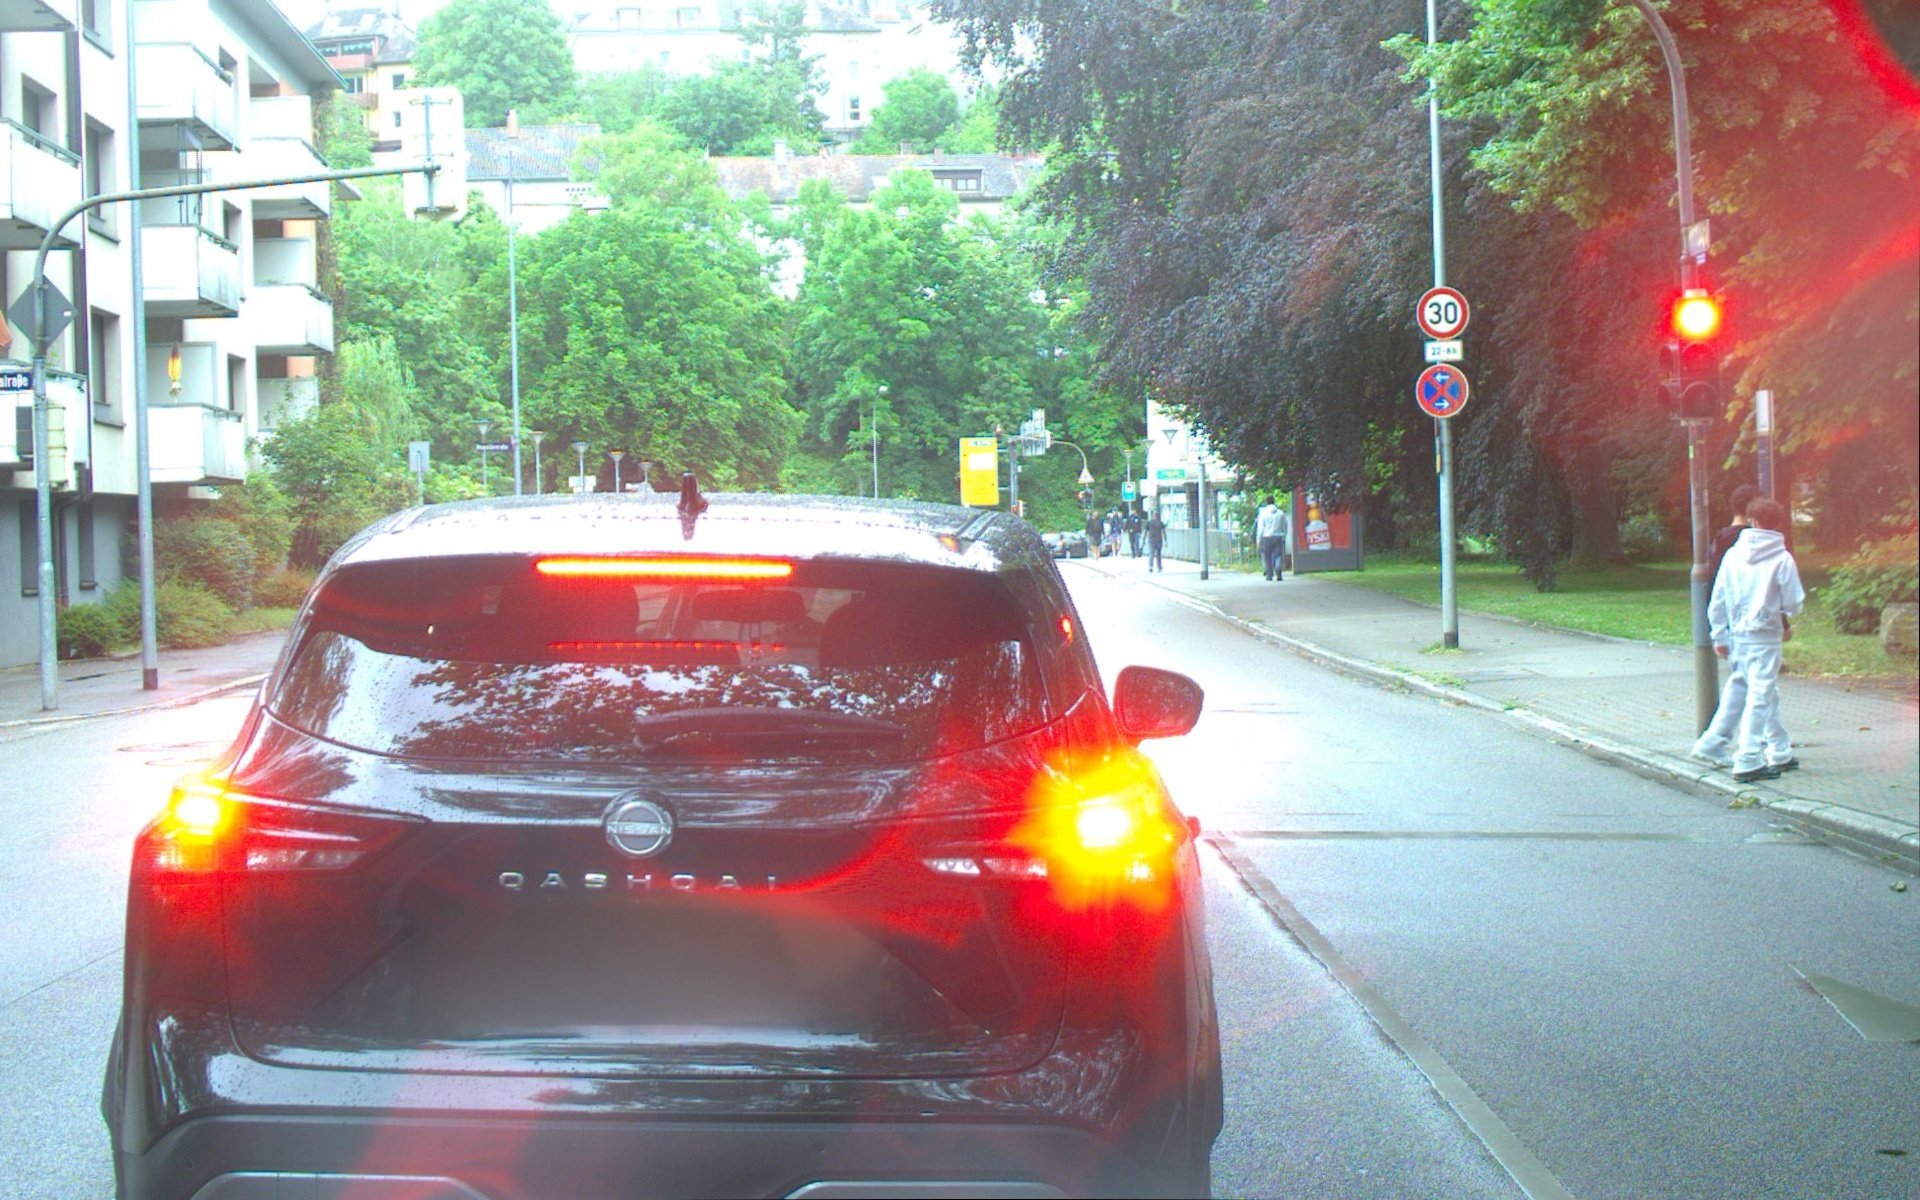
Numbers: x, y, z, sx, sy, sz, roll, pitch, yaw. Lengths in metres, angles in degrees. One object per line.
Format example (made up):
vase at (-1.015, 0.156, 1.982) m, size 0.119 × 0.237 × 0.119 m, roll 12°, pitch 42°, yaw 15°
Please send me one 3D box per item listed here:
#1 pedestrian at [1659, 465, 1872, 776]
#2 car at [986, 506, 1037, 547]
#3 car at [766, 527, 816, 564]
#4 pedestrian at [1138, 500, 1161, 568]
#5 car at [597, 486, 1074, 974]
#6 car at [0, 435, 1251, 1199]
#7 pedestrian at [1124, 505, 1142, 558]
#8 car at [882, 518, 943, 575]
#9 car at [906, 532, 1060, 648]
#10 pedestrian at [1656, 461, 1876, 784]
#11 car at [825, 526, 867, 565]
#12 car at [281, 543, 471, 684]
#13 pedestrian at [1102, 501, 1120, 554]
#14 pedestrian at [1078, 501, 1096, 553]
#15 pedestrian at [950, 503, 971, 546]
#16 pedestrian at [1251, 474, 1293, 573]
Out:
pedestrian at (5.070, 0.120, 21.671) m, size 1.035 × 1.869 × 0.658 m, roll -4°, pitch 1°, yaw -11°
car at (2.273, -3.240, 152.124) m, size 1.994 × 1.729 × 3.999 m, roll 1°, pitch 1°, yaw 4°
car at (-7.406, -2.403, 150.811) m, size 1.970 × 1.527 × 3.968 m, roll -2°, pitch 1°, yaw -1°
pedestrian at (5.084, -1.775, 92.328) m, size 0.508 × 1.796 × 0.619 m, roll -2°, pitch 1°, yaw -1°
car at (-0.478, 0.441, 14.500) m, size 1.698 × 1.739 × 3.641 m, roll -2°, pitch 1°, yaw -1°
car at (-0.552, 0.558, 7.018) m, size 1.913 × 1.674 × 4.000 m, roll 0°, pitch 1°, yaw 0°
pedestrian at (5.960, -2.358, 118.765) m, size 0.508 × 1.796 × 0.619 m, roll -2°, pitch 1°, yaw -2°
car at (-1.357, -1.547, 98.632) m, size 1.634 × 1.527 × 3.968 m, roll -2°, pitch 1°, yaw -1°
car at (0.255, -0.174, 46.047) m, size 1.825 × 1.399 × 4.651 m, roll -2°, pitch 1°, yaw -2°
pedestrian at (4.898, 0.127, 20.920) m, size 1.035 × 1.869 × 0.658 m, roll -4°, pitch 1°, yaw -11°
car at (-4.711, -2.283, 142.390) m, size 1.634 × 1.527 × 3.968 m, roll -2°, pitch 1°, yaw -1°
car at (-6.881, 0.119, 40.845) m, size 1.795 × 1.528 × 3.868 m, roll -2°, pitch 1°, yaw -4°
pedestrian at (5.176, -2.503, 118.128) m, size 0.508 × 1.796 × 0.659 m, roll -2°, pitch 1°, yaw -1°
pedestrian at (4.396, -2.528, 118.987) m, size 0.508 × 1.796 × 0.619 m, roll -2°, pitch 1°, yaw -1°
pedestrian at (0.014, -2.982, 135.125) m, size 0.509 × 1.667 × 0.658 m, roll -2°, pitch 1°, yaw 27°
pedestrian at (6.391, -1.568, 70.428) m, size 0.725 × 2.007 × 0.851 m, roll -2°, pitch 1°, yaw 0°
